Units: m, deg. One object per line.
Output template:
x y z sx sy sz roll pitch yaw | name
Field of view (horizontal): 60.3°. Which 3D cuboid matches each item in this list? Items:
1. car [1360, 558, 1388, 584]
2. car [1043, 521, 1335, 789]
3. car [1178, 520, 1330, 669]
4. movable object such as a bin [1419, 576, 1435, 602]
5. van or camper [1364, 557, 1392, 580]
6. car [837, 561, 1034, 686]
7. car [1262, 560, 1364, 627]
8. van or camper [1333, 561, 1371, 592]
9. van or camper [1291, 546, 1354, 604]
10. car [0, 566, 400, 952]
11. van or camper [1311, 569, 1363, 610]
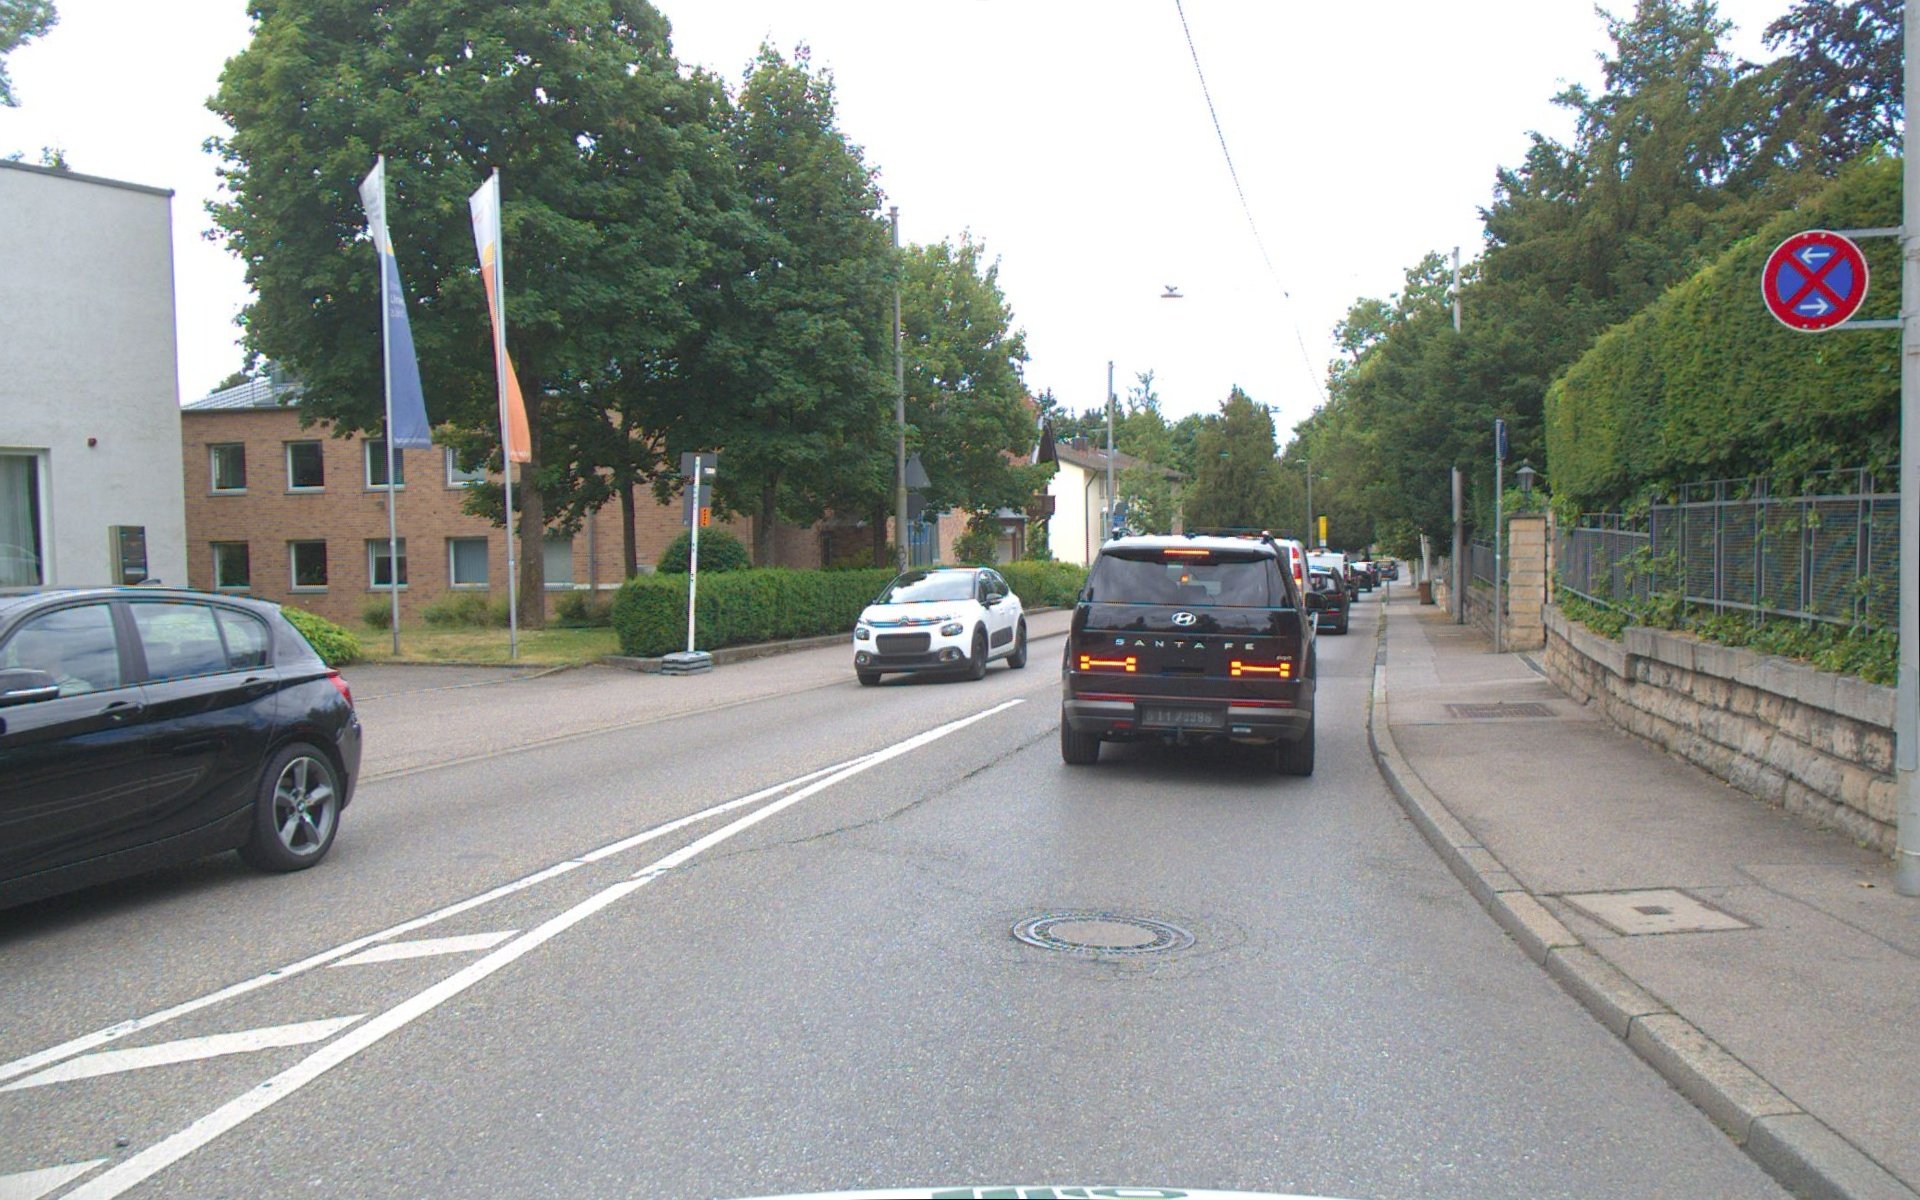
27.895 -1.911 111.297 1.610 1.588 3.651 -1 -1 18 | car
1.972 0.292 13.278 1.915 1.742 4.228 2 2 12 | car
4.504 -0.167 24.889 1.915 1.989 4.228 -1 3 14 | car
17.493 -0.415 61.910 0.436 0.925 0.394 -6 2 25 | movable object such as a bin
31.997 -2.412 126.673 1.951 1.680 4.003 -2 1 15 | van or camper
-0.240 0.259 22.665 1.659 1.464 3.760 -4 1 15 | car
8.236 -0.174 38.368 1.951 1.428 4.003 -1 1 17 | car
22.721 -1.357 95.833 1.951 1.680 4.003 -2 1 15 | van or camper
13.023 -0.912 59.317 1.951 1.920 4.004 -2 1 15 | van or camper
-4.334 0.634 6.994 1.725 1.432 4.004 -3 1 15 | car
16.551 -0.484 72.787 1.951 1.656 4.004 -2 1 10 | van or camper
